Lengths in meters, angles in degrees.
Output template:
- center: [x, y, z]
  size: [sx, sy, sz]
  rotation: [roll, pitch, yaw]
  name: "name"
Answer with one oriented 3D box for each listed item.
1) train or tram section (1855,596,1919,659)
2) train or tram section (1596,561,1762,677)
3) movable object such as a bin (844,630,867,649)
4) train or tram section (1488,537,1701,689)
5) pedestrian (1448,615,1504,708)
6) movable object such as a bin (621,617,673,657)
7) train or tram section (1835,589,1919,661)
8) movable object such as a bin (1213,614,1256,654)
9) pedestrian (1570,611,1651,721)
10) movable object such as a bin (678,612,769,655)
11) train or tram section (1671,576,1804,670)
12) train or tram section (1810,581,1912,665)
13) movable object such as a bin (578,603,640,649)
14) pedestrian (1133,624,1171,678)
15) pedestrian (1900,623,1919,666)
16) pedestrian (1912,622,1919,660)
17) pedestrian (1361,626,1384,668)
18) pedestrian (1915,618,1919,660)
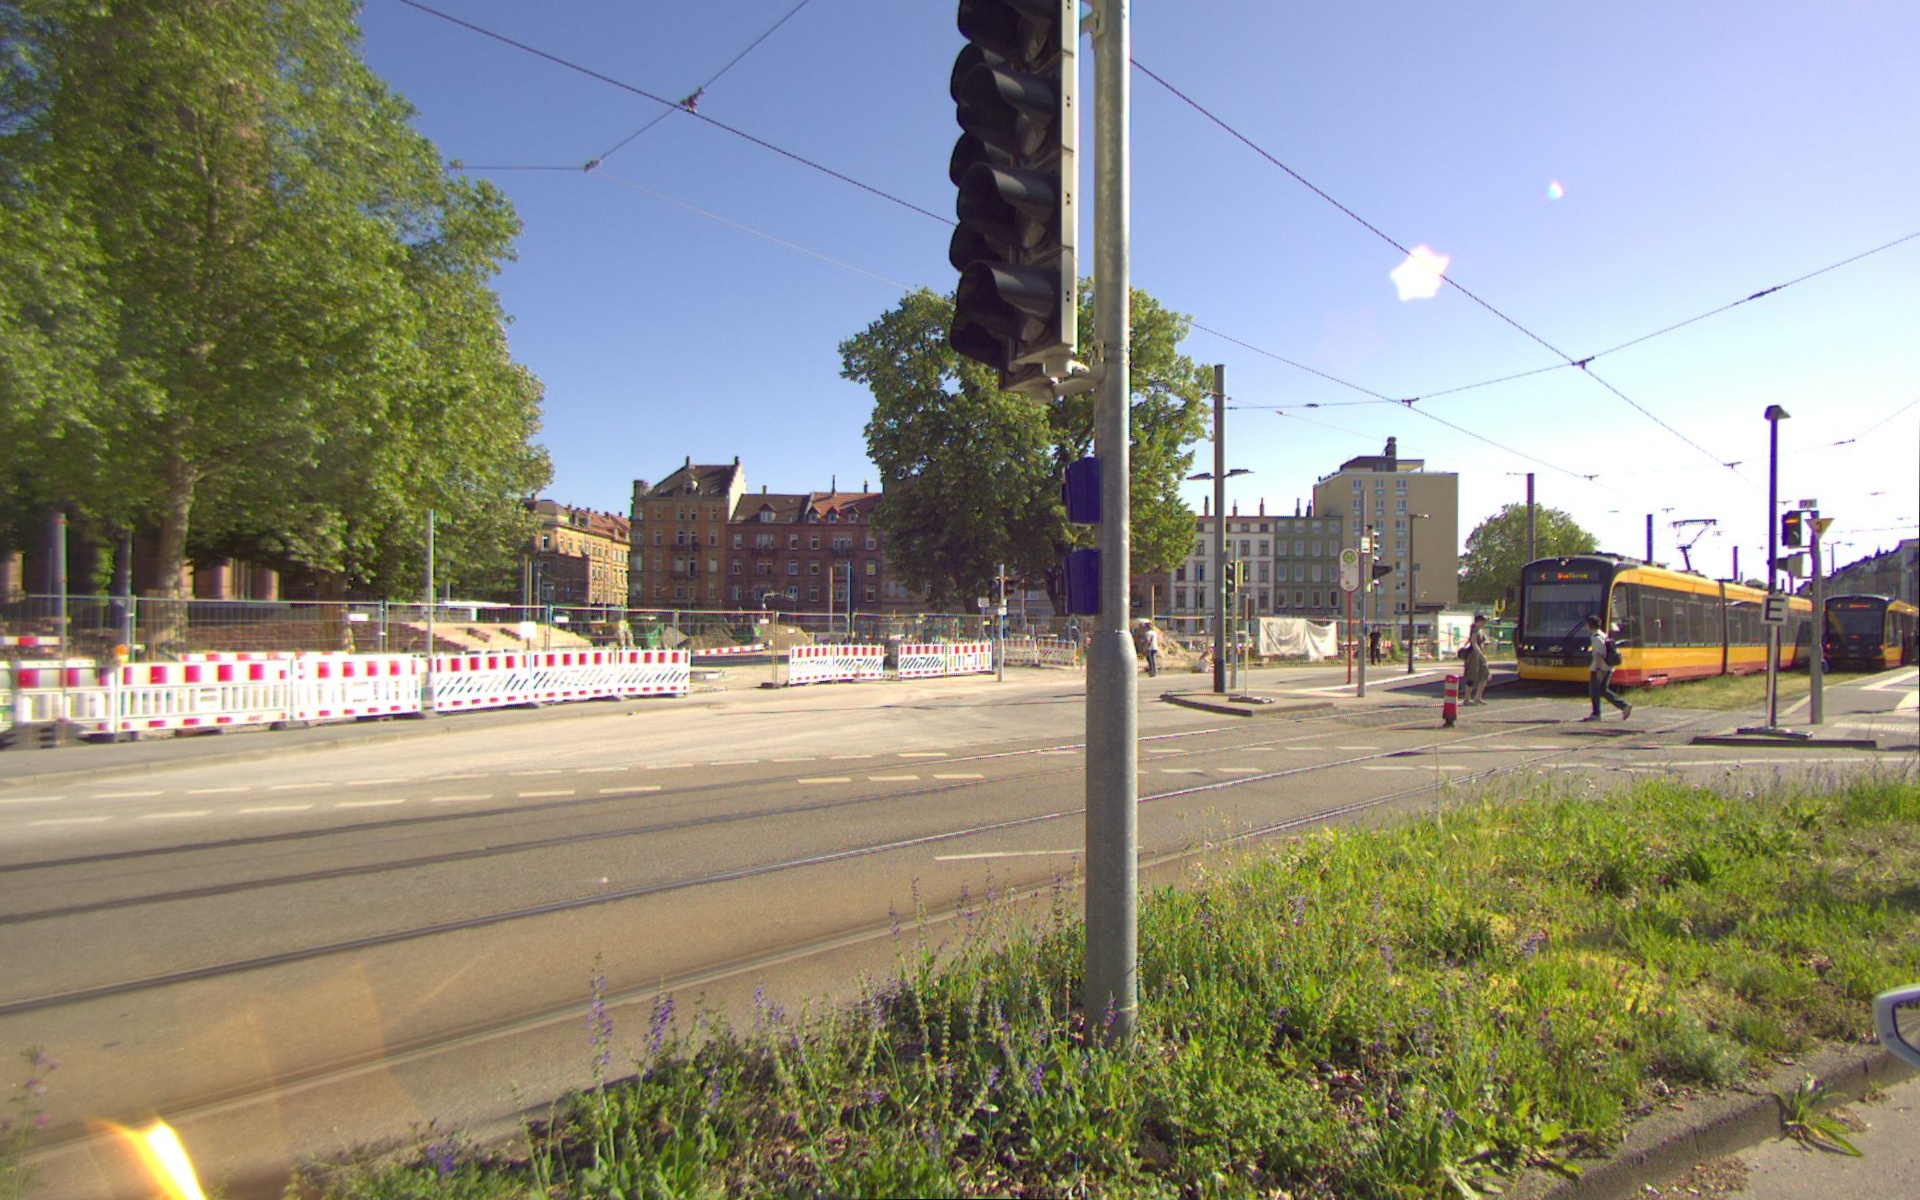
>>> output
- center: [57.309, 1.696, 61.622]
  size: [10.472, 3.554, 2.843]
  rotation: [2, -1, -44]
  name: "train or tram section"
- center: [25.563, 0.728, 35.419]
  size: [10.537, 3.554, 2.790]
  rotation: [2, -1, -43]
  name: "train or tram section"
- center: [-10.030, 3.803, 96.852]
  size: [1.716, 1.702, 3.802]
  rotation: [0, -1, 2]
  name: "movable object such as a bin"
- center: [18.072, 0.467, 28.159]
  size: [10.411, 3.554, 2.789]
  rotation: [2, -2, -45]
  name: "train or tram section"
- center: [10.809, 1.256, 21.024]
  size: [0.888, 1.875, 0.760]
  rotation: [-1, 1, 39]
  name: "pedestrian"
- center: [-20.062, 2.339, 64.550]
  size: [1.857, 2.377, 4.230]
  rotation: [2, -1, 0]
  name: "movable object such as a bin"
- center: [49.823, 1.400, 54.366]
  size: [10.472, 3.554, 2.843]
  rotation: [2, -2, -44]
  name: "train or tram section"
- center: [20.659, 2.528, 75.705]
  size: [1.798, 2.833, 3.997]
  rotation: [2, -1, -5]
  name: "movable object such as a bin"
- center: [11.385, 1.157, 17.591]
  size: [0.756, 1.856, 1.006]
  rotation: [3, -4, -45]
  name: "pedestrian"
- center: [-16.962, 2.413, 72.202]
  size: [5.968, 2.795, 1.894]
  rotation: [2, -1, -3]
  name: "movable object such as a bin"
- center: [33.352, 0.997, 42.863]
  size: [11.132, 3.554, 2.790]
  rotation: [2, -1, -43]
  name: "train or tram section"
- center: [42.347, 1.126, 47.056]
  size: [10.472, 3.554, 2.843]
  rotation: [2, -2, -44]
  name: "train or tram section"
- center: [-26.383, 1.938, 75.818]
  size: [3.060, 3.214, 5.244]
  rotation: [2, -1, -5]
  name: "movable object such as a bin"
- center: [6.470, 1.695, 33.800]
  size: [0.959, 1.791, 0.861]
  rotation: [-1, -2, 39]
  name: "pedestrian"
- center: [43.929, 2.057, 46.281]
  size: [0.756, 1.908, 0.838]
  rotation: [3, -1, -45]
  name: "pedestrian"
- center: [47.860, 2.040, 49.951]
  size: [0.697, 1.881, 0.668]
  rotation: [3, -1, -38]
  name: "pedestrian"
- center: [17.762, 2.026, 43.226]
  size: [0.795, 1.791, 0.661]
  rotation: [2, -2, -45]
  name: "pedestrian"
- center: [44.880, 1.824, 46.574]
  size: [0.756, 1.908, 0.838]
  rotation: [3, -1, -45]
  name: "pedestrian"
